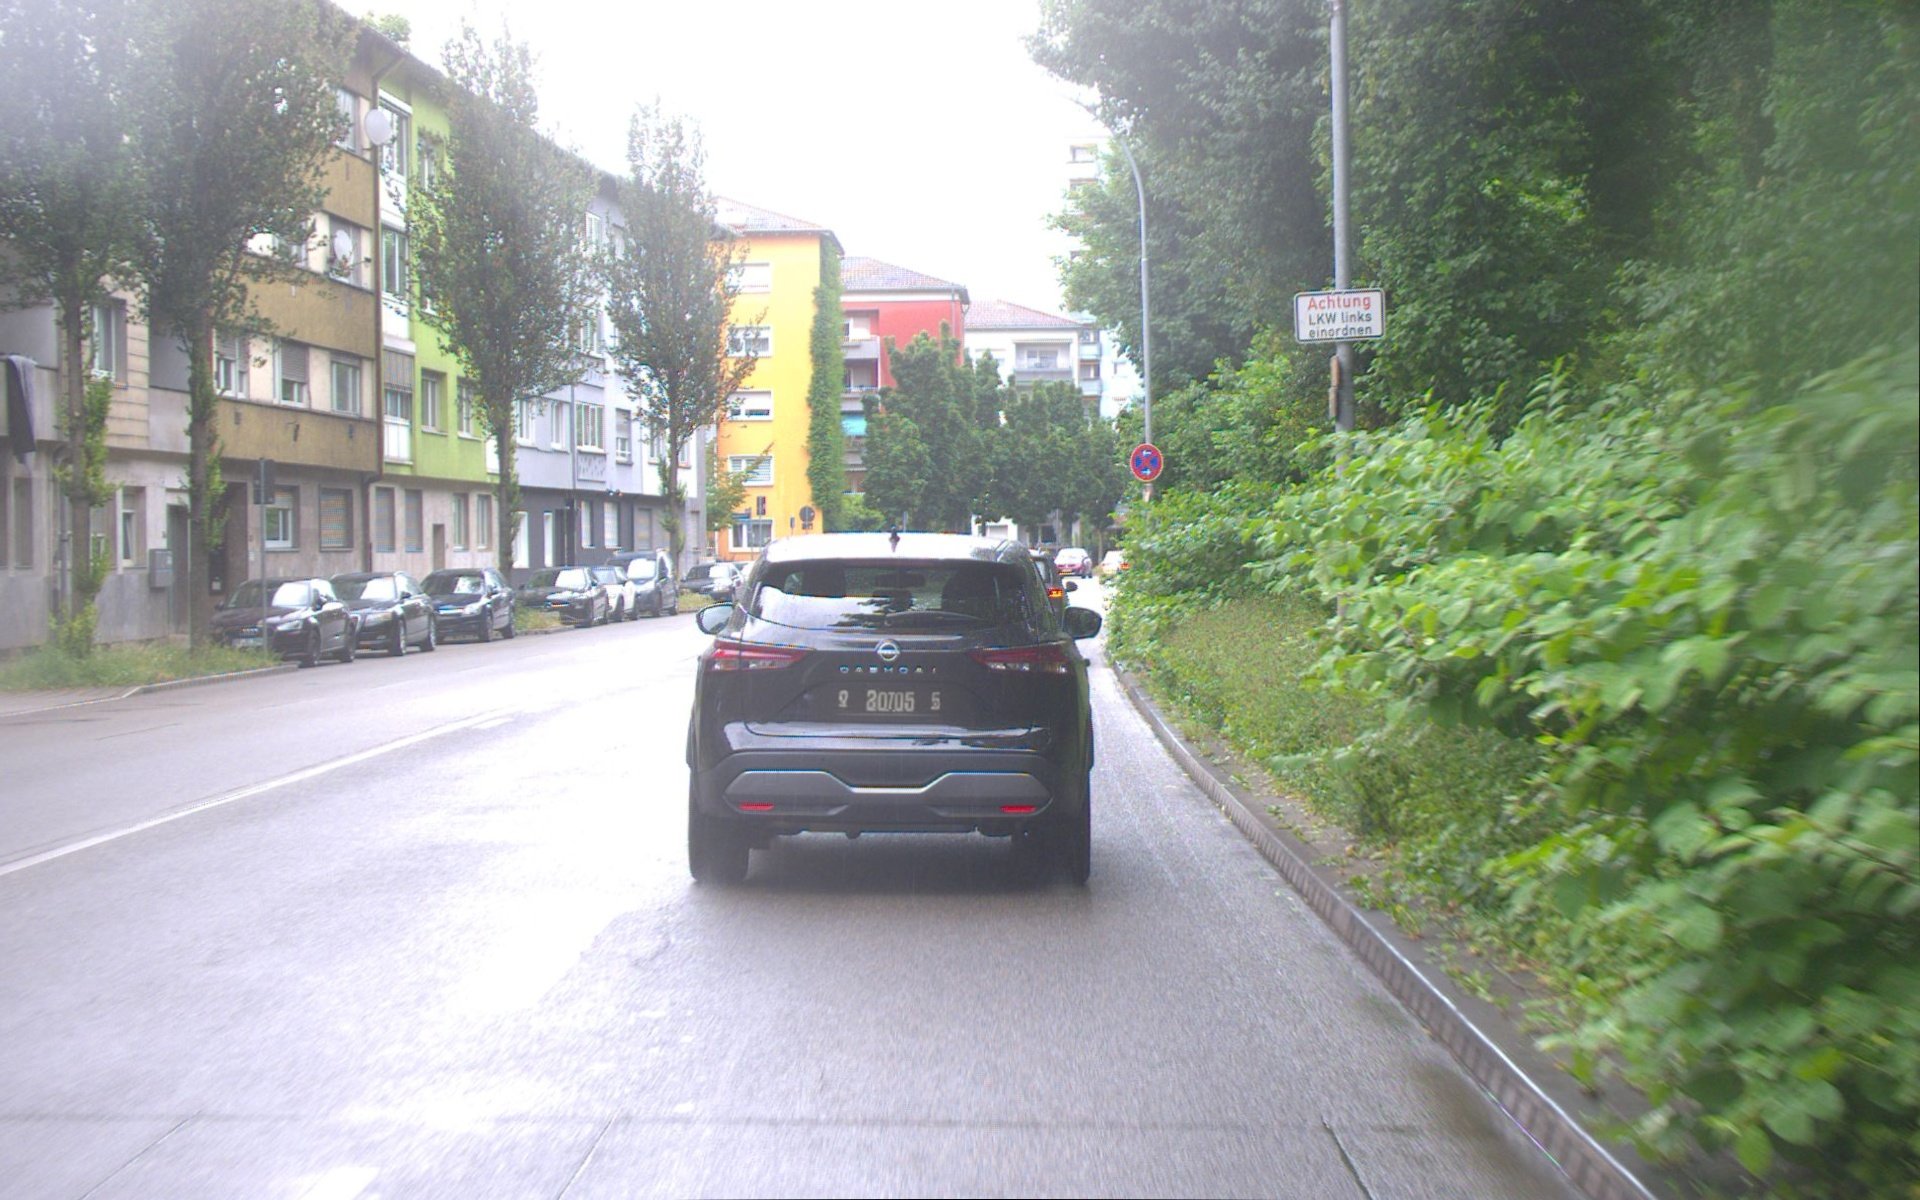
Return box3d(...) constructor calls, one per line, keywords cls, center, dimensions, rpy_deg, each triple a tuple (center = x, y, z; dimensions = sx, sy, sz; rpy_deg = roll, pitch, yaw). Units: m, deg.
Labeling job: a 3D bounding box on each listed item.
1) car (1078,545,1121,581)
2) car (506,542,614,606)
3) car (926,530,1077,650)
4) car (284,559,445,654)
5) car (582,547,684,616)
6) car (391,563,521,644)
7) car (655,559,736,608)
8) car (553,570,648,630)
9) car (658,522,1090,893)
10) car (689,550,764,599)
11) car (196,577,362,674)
box3d(cls="car", center=(5.927, -1.570, 145.661), dimensions=(1.706, 1.473, 3.680), rpy_deg=(-1, 1, 4))
box3d(cls="car", center=(-9.392, -0.627, 81.007), dimensions=(1.817, 1.367, 4.680), rpy_deg=(-2, 1, 2))
box3d(cls="car", center=(0.656, -0.173, 50.820), dimensions=(1.887, 1.705, 3.999), rpy_deg=(0, 1, 6))
box3d(cls="car", center=(-10.362, 0.076, 60.141), dimensions=(1.817, 1.483, 4.790), rpy_deg=(-2, 1, 1))
box3d(cls="car", center=(-8.769, -0.512, 92.572), dimensions=(1.891, 1.760, 4.600), rpy_deg=(-2, 1, 5))
box3d(cls="car", center=(-10.141, 0.044, 69.507), dimensions=(1.718, 1.483, 4.514), rpy_deg=(-2, 1, 3))
box3d(cls="car", center=(-8.075, -0.524, 105.325), dimensions=(1.688, 1.353, 4.578), rpy_deg=(-4, 1, 5))
box3d(cls="car", center=(-9.049, -0.028, 86.797), dimensions=(1.680, 1.371, 4.000), rpy_deg=(-3, 1, 4))
box3d(cls="car", center=(-0.385, 0.424, 16.799), dimensions=(1.845, 1.577, 4.000), rpy_deg=(1, 1, 0))
box3d(cls="car", center=(-7.489, -0.844, 110.727), dimensions=(1.681, 1.444, 4.275), rpy_deg=(-3, 1, 5))
box3d(cls="car", center=(-10.655, 0.368, 54.028), dimensions=(1.626, 1.382, 3.988), rpy_deg=(-1, 1, 2))
